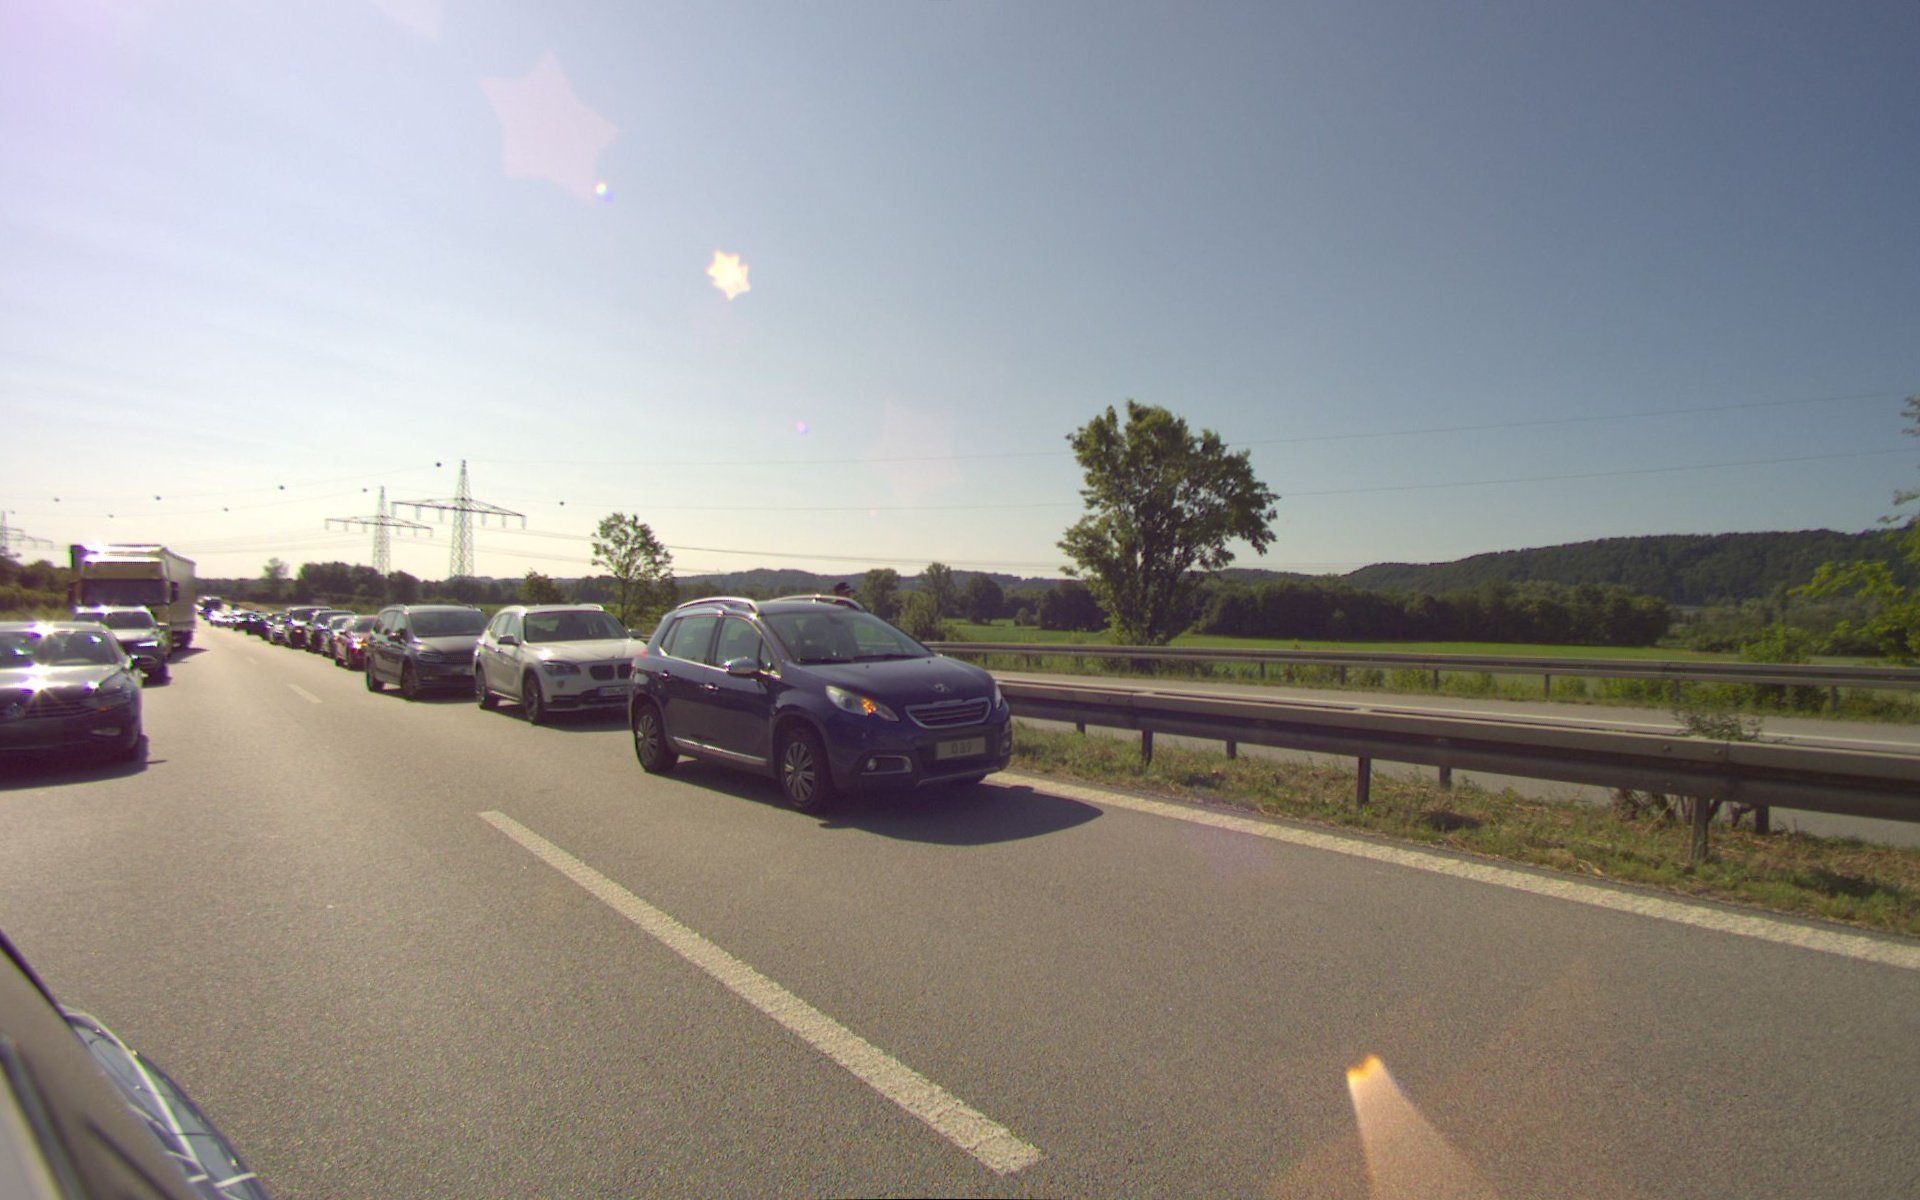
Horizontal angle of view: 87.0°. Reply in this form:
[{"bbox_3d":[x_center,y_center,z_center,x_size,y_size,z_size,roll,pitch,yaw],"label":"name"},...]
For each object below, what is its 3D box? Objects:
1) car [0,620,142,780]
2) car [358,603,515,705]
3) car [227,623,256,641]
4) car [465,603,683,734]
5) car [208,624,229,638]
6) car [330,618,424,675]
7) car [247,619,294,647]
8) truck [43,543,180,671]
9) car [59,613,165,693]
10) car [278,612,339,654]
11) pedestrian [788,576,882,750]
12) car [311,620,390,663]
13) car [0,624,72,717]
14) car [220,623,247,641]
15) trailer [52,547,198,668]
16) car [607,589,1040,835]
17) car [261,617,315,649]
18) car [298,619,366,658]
[{"bbox_3d":[-9.993,0.958,10.922,1.690,1.424,4.334,-1,0,-38],"label":"car"},{"bbox_3d":[-9.725,0.909,18.641,1.792,1.628,4.125,-1,0,-39],"label":"car"},{"bbox_3d":[-58.811,2.581,82.804,1.791,1.470,4.126,1,-2,-37],"label":"car"},{"bbox_3d":[-5.645,0.865,14.496,1.804,1.586,4.172,0,-1,-37],"label":"car"},{"bbox_3d":[-80.425,3.363,109.701,1.791,1.470,4.126,1,-2,-37],"label":"car"},{"bbox_3d":[-16.379,1.254,28.337,1.791,1.470,4.126,1,-2,-37],"label":"car"},{"bbox_3d":[-39.864,1.895,58.466,1.968,1.542,4.008,1,-2,-38],"label":"car"},{"bbox_3d":[-30.340,0.236,36.478,3.281,4.144,6.986,-1,0,-36],"label":"truck"},{"bbox_3d":[-19.538,1.151,23.457,1.690,1.636,4.334,-1,0,-38],"label":"car"},{"bbox_3d":[-29.438,1.452,45.686,1.873,1.801,4.208,1,-2,-39],"label":"car"},{"bbox_3d":[-1.336,0.652,10.786,0.662,1.763,0.816,1,-2,-38],"label":"pedestrian"},{"bbox_3d":[-21.402,1.418,35.481,1.866,1.409,4.007,1,-1,-39],"label":"car"},{"bbox_3d":[-16.658,1.158,17.477,1.690,1.436,4.334,-1,0,-38],"label":"car"},{"bbox_3d":[-64.141,2.803,89.348,1.792,1.470,4.125,-1,0,-38],"label":"car"},{"bbox_3d":[-33.790,0.287,41.540,3.334,4.144,13.988,-1,0,-34],"label":"trailer"},{"bbox_3d":[-1.343,0.740,8.483,1.667,1.546,3.954,-2,0,-41],"label":"car"},{"bbox_3d":[-34.032,1.643,51.212,1.968,1.542,4.008,1,-2,-38],"label":"car"},{"bbox_3d":[-25.077,1.496,40.354,1.865,1.466,4.008,1,-2,-38],"label":"car"}]
